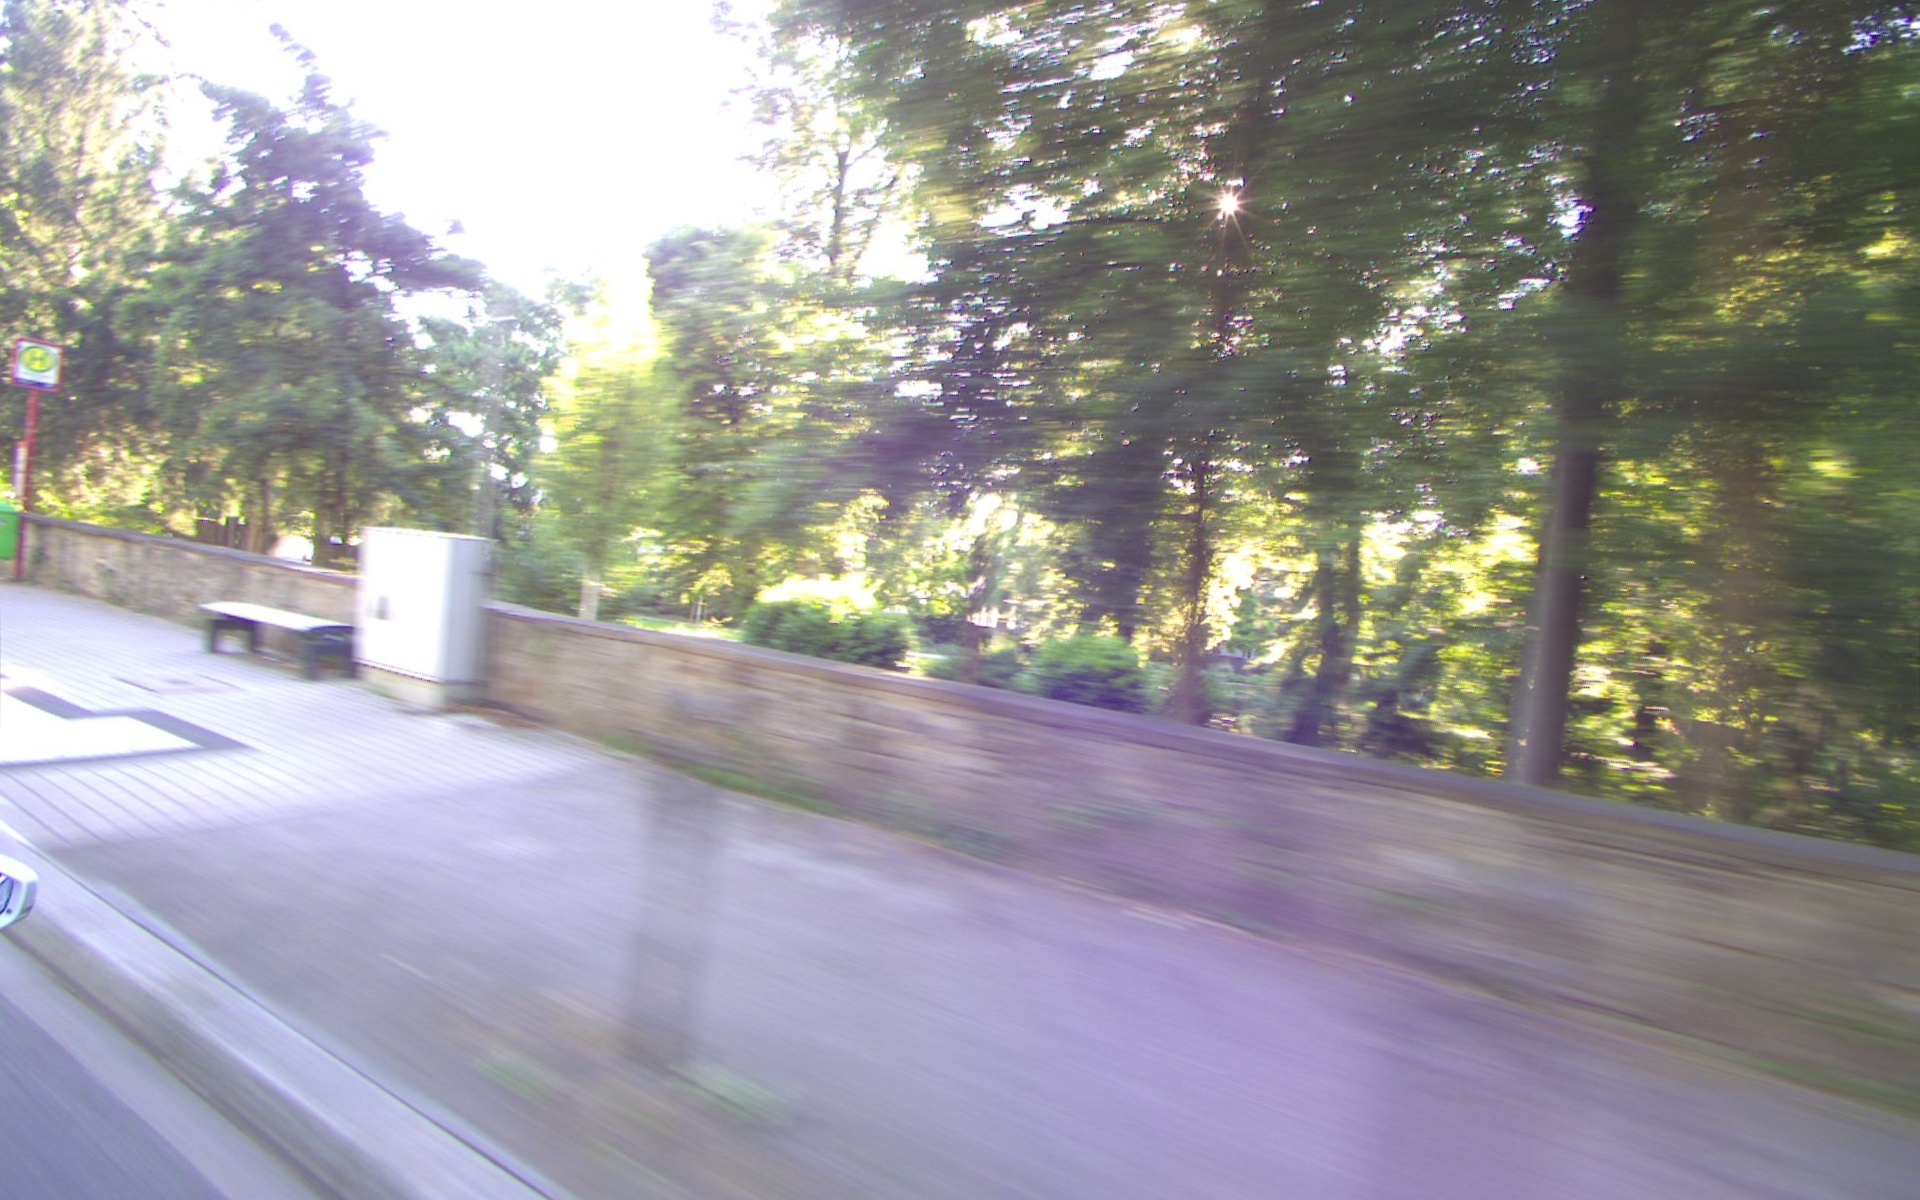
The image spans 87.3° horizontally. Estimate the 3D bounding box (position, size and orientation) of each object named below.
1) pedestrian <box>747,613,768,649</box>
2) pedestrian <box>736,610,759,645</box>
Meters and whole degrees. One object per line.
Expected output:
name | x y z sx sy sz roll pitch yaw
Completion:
pedestrian | -10.173 1.556 50.531 0.588 1.749 0.591 7 -2 31
pedestrian | -10.772 1.380 51.037 0.749 1.636 0.564 7 -2 38
